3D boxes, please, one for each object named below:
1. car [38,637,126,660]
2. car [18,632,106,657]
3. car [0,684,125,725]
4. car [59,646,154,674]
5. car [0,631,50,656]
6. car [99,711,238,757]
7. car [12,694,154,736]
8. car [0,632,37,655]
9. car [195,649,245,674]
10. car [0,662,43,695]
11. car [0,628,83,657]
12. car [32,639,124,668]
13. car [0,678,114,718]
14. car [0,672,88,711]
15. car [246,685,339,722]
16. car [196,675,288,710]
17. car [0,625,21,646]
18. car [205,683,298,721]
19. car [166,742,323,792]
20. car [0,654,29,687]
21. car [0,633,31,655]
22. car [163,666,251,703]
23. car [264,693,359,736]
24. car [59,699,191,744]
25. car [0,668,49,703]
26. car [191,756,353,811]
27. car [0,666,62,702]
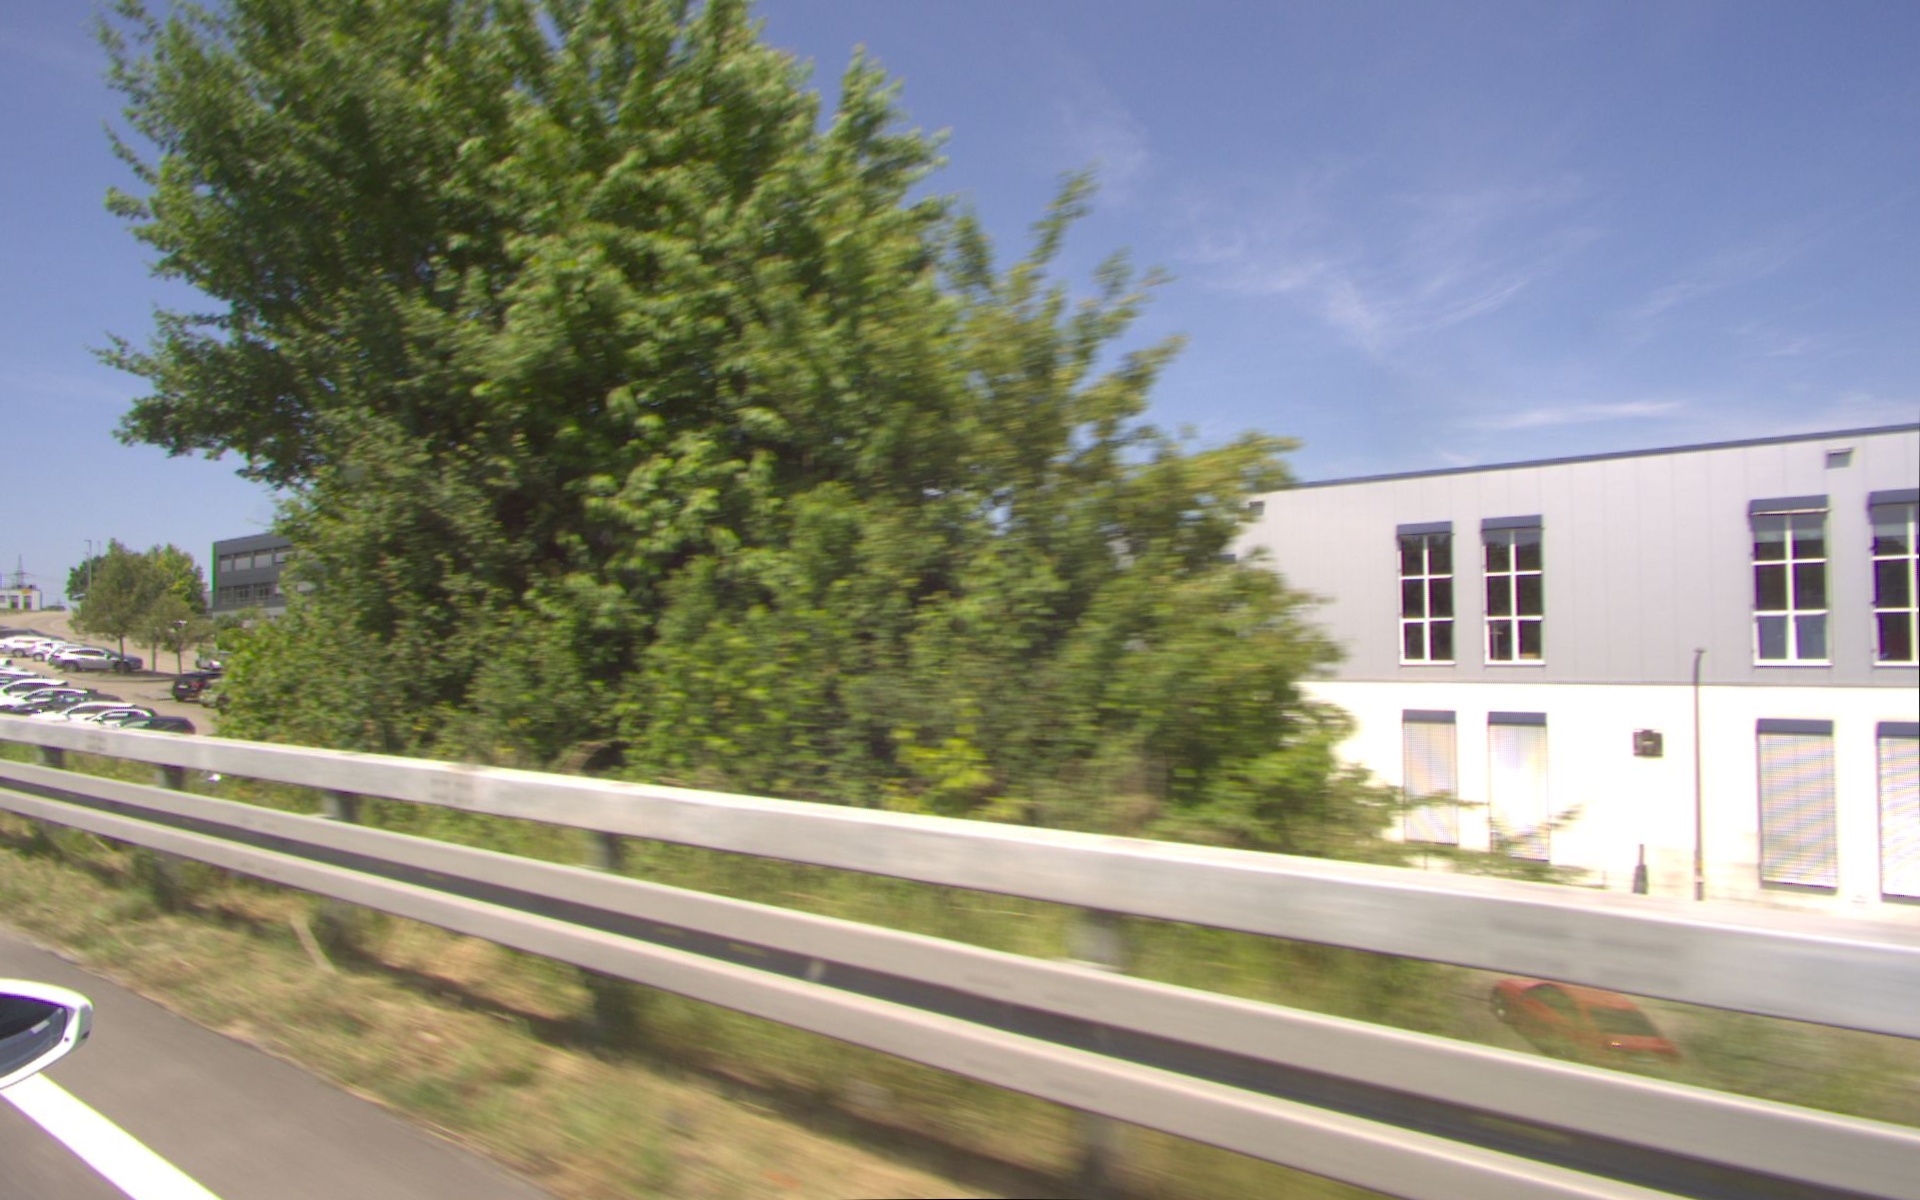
[{"bbox_3d":[-64.206,3.537,73.319,4.521,1.498,1.810,1,3,-30],"label":"car"},{"bbox_3d":[-66.977,3.321,74.758,4.516,1.540,1.812,4,1,-25],"label":"car"},{"bbox_3d":[-42.205,4.898,46.878,4.319,1.473,1.810,9,-5,-28],"label":"car"},{"bbox_3d":[-57.500,4.058,67.577,4.523,1.650,1.810,4,0,-30],"label":"car"},{"bbox_3d":[-76.769,3.421,80.796,4.526,1.647,1.812,9,-5,-29],"label":"car"},{"bbox_3d":[-33.436,5.704,42.486,4.327,1.507,1.700,9,-6,-33],"label":"car"},{"bbox_3d":[-39.116,5.148,44.812,4.319,1.410,1.810,9,-5,-28],"label":"car"},{"bbox_3d":[-79.732,3.458,82.786,4.526,1.647,1.812,9,-5,-29],"label":"car"},{"bbox_3d":[-55.551,4.591,75.145,3.947,1.682,1.803,0,-4,36],"label":"car"},{"bbox_3d":[-53.781,4.206,55.156,4.316,1.577,1.881,8,-5,-26],"label":"car"},{"bbox_3d":[-70.168,3.254,76.362,4.526,1.647,1.812,9,-5,-29],"label":"car"},{"bbox_3d":[-62.597,3.828,71.167,4.524,1.650,1.809,5,2,-30],"label":"car"},{"bbox_3d":[-44.076,4.757,48.500,4.323,1.473,1.809,9,-6,-31],"label":"car"},{"bbox_3d":[-46.759,4.541,50.057,4.323,1.577,1.852,9,-6,-31],"label":"car"},{"bbox_3d":[-36.479,5.641,54.911,1.785,1.532,4.588,6,-1,2],"label":"car"},{"bbox_3d":[-41.172,5.278,57.574,1.785,1.559,4.588,6,-1,2],"label":"car"},{"bbox_3d":[-84.462,2.897,86.379,4.526,1.647,1.812,9,-5,-29],"label":"car"},{"bbox_3d":[-38.991,5.592,55.273,1.786,1.532,4.588,6,-1,-1],"label":"car"},{"bbox_3d":[-27.903,6.545,39.281,4.665,1.505,1.905,9,-5,-30],"label":"car"},{"bbox_3d":[-56.348,3.852,57.057,4.408,1.705,1.876,9,-6,-33],"label":"car"},{"bbox_3d":[-81.951,3.608,84.647,4.526,1.647,1.812,9,-5,-29],"label":"car"},{"bbox_3d":[-44.184,4.930,58.886,1.785,1.650,4.241,6,0,2],"label":"car"},{"bbox_3d":[-34.089,5.997,52.807,1.785,1.681,4.588,6,-1,2],"label":"car"},{"bbox_3d":[-36.382,5.319,43.762,4.076,1.535,1.670,9,-6,-32],"label":"car"},{"bbox_3d":[-49.790,4.259,51.153,4.323,1.577,1.878,9,-6,-31],"label":"car"},{"bbox_3d":[-25.516,6.847,37.365,4.665,1.582,1.951,9,-5,-30],"label":"car"},{"bbox_3d":[-50.954,4.390,53.260,4.323,1.577,1.878,9,-6,-31],"label":"car"}]
